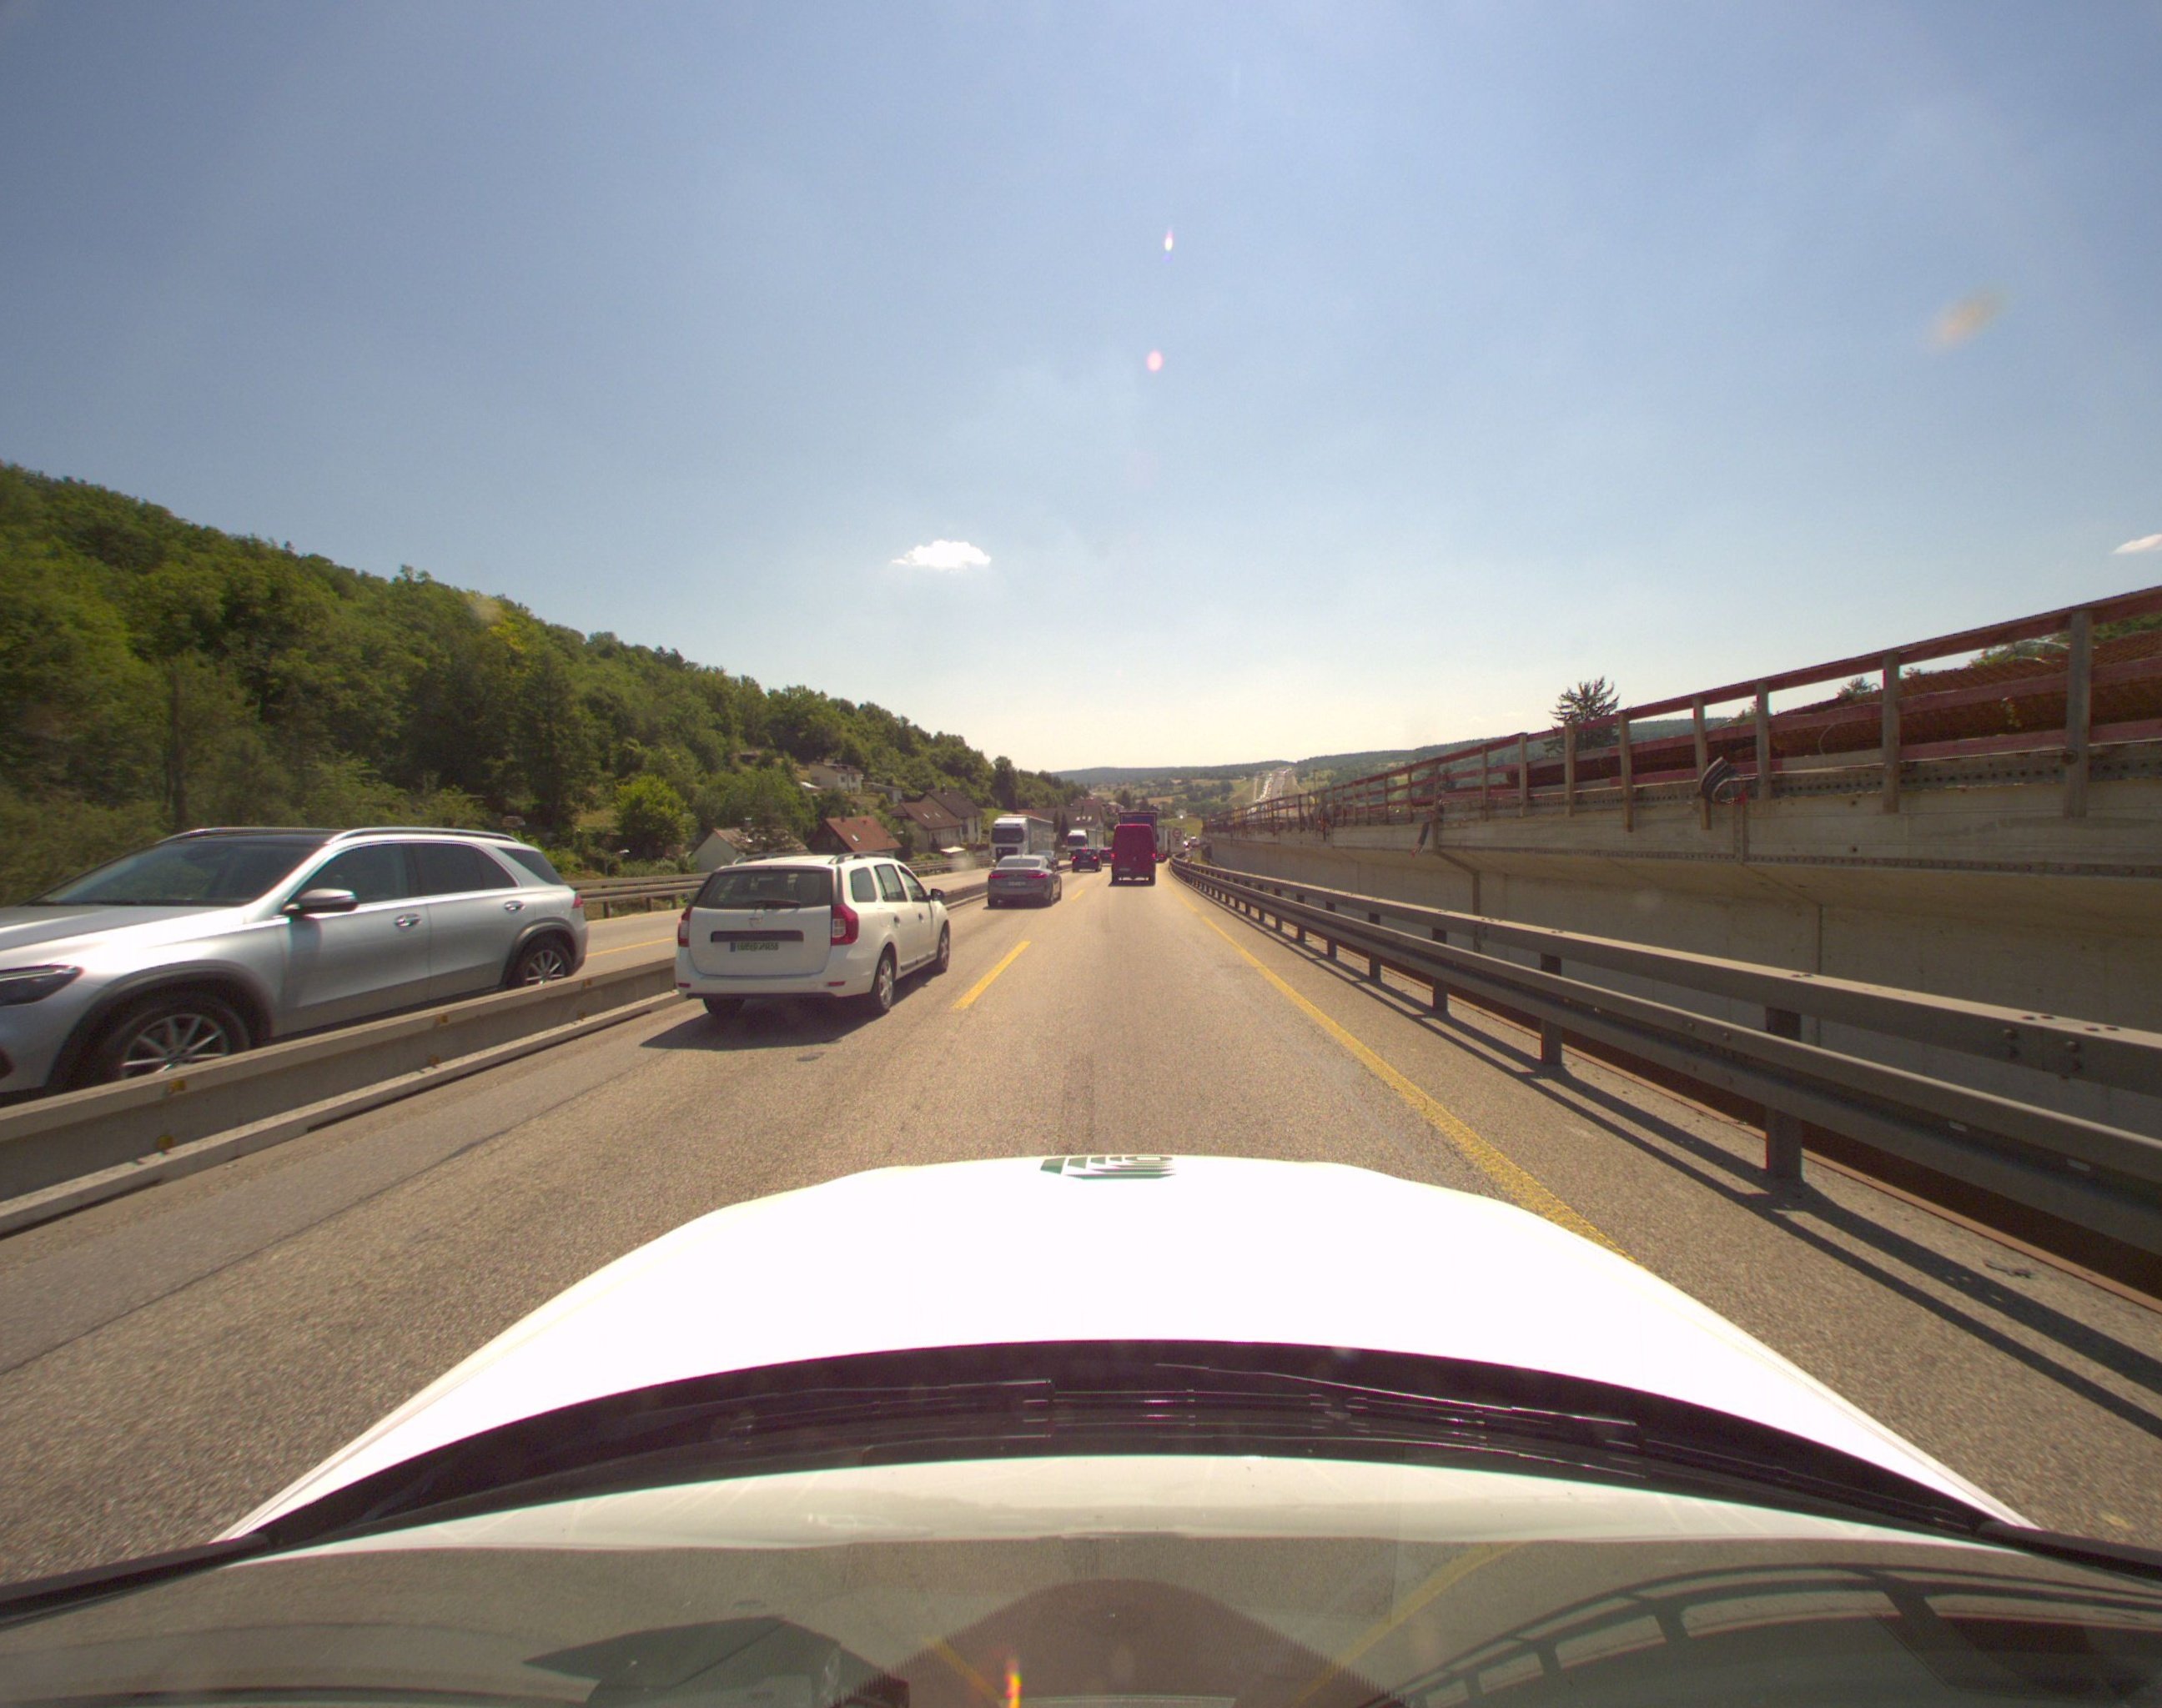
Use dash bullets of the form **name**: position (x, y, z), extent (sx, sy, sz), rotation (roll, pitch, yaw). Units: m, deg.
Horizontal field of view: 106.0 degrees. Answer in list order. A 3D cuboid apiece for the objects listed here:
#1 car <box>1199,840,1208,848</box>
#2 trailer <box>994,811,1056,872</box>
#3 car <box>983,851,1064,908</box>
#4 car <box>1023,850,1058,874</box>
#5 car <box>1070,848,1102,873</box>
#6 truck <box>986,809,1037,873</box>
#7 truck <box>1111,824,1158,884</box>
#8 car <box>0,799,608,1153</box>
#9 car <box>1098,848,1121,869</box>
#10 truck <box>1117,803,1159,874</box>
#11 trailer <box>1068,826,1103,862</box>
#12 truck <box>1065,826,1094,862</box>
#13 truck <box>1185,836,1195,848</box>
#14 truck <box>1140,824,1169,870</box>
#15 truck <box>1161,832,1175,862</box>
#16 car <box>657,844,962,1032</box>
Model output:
- **car**: position (33.451, -2.811, 222.622), extent (2.117, 2.014, 4.012), rotation (0, -1, 11)
- **trailer**: position (-4.615, -0.874, 71.426), extent (3.049, 4.815, 14.024), rotation (0, -1, 6)
- **car**: position (-1.572, 0.684, 23.563), extent (1.787, 1.485, 4.053), rotation (-1, 0, 4)
- **car**: position (-2.806, 0.560, 57.335), extent (1.985, 1.640, 4.857), rotation (0, -1, 3)
- **car**: position (0.394, 0.454, 55.326), extent (1.801, 1.608, 3.725), rotation (0, -1, 6)
- **truck**: position (-5.394, -0.982, 63.917), extent (3.045, 4.821, 4.654), rotation (0, -1, 6)
- **truck**: position (2.409, 0.036, 37.058), extent (1.985, 2.578, 4.003), rotation (0, -1, 3)
- **car**: position (-6.070, 0.583, 6.299), extent (1.904, 1.705, 4.739), rotation (0, 0, 2)
- **car**: position (2.546, 0.421, 72.669), extent (1.720, 1.838, 4.007), rotation (0, -1, 7)
- **truck**: position (4.093, -1.012, 60.051), extent (2.775, 4.816, 9.691), rotation (0, -1, 3)
- **trailer**: position (0.801, -1.194, 112.046), extent (2.818, 4.641, 14.612), rotation (0, -1, 8)
- **truck**: position (-0.183, -1.217, 105.343), extent (2.830, 4.580, 5.801), rotation (0, -1, 8)
- **truck**: position (15.225, -1.642, 114.195), extent (1.307, 1.542, 3.157), rotation (0, -1, 7)
- **truck**: position (8.150, -0.668, 91.328), extent (2.775, 4.816, 9.691), rotation (0, -1, 3)
- **truck**: position (13.027, -0.966, 122.348), extent (1.983, 4.381, 4.008), rotation (0, -1, 7)
- **car**: position (-2.550, 0.708, 8.827), extent (1.645, 1.483, 4.269), rotation (-2, -1, 2)
